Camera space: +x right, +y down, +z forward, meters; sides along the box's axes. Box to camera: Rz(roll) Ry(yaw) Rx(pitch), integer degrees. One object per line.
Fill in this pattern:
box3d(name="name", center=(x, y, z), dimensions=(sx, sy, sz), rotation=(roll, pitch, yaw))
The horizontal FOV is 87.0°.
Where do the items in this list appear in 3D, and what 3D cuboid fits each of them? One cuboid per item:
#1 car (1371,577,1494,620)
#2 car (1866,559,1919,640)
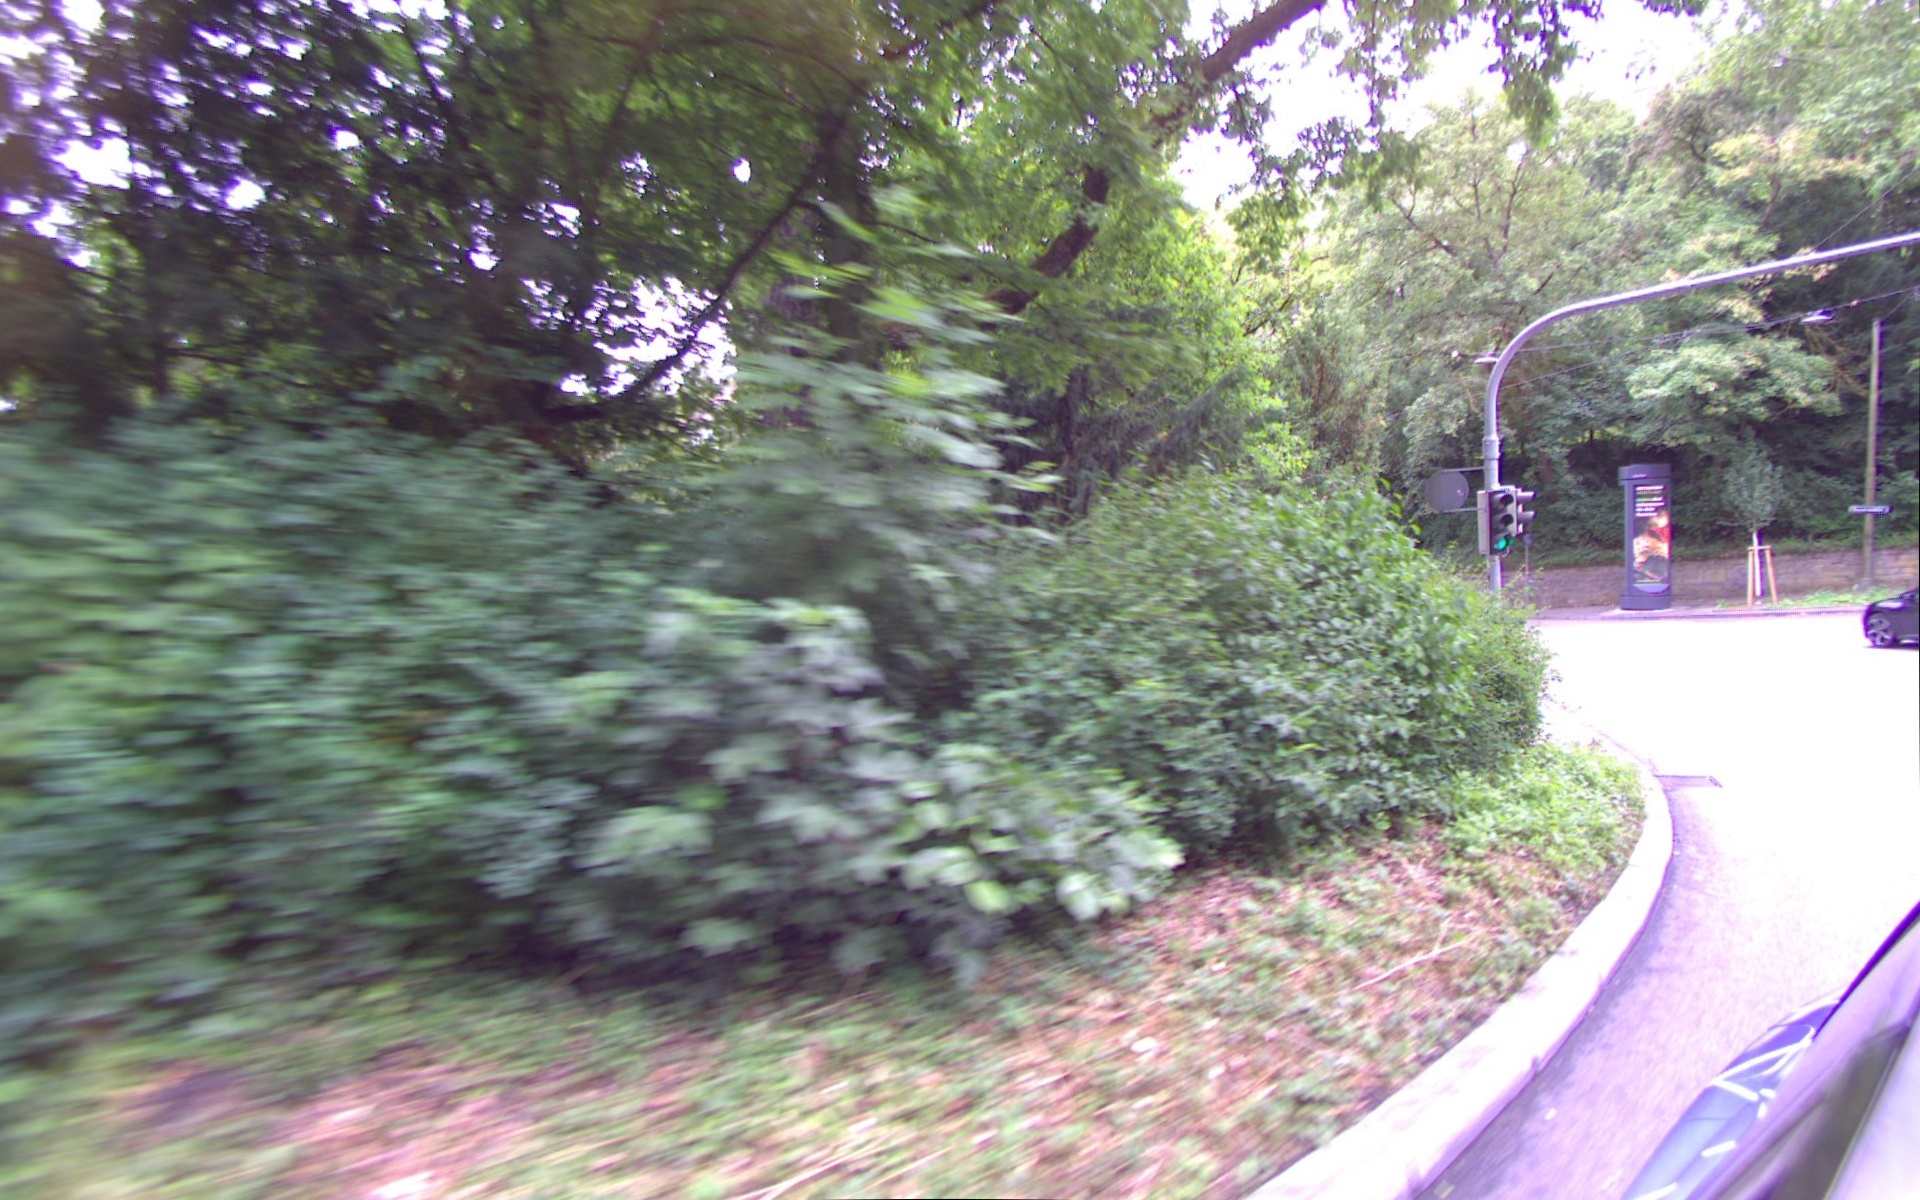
box3d(name="car", center=(17.678, -0.034, 37.993), dimensions=(1.530, 1.440, 3.899), rotation=(-5, 1, -34))
box3d(name="car", center=(19.621, -0.038, 18.925), dimensions=(1.608, 1.562, 4.390), rotation=(-4, 0, 6))
